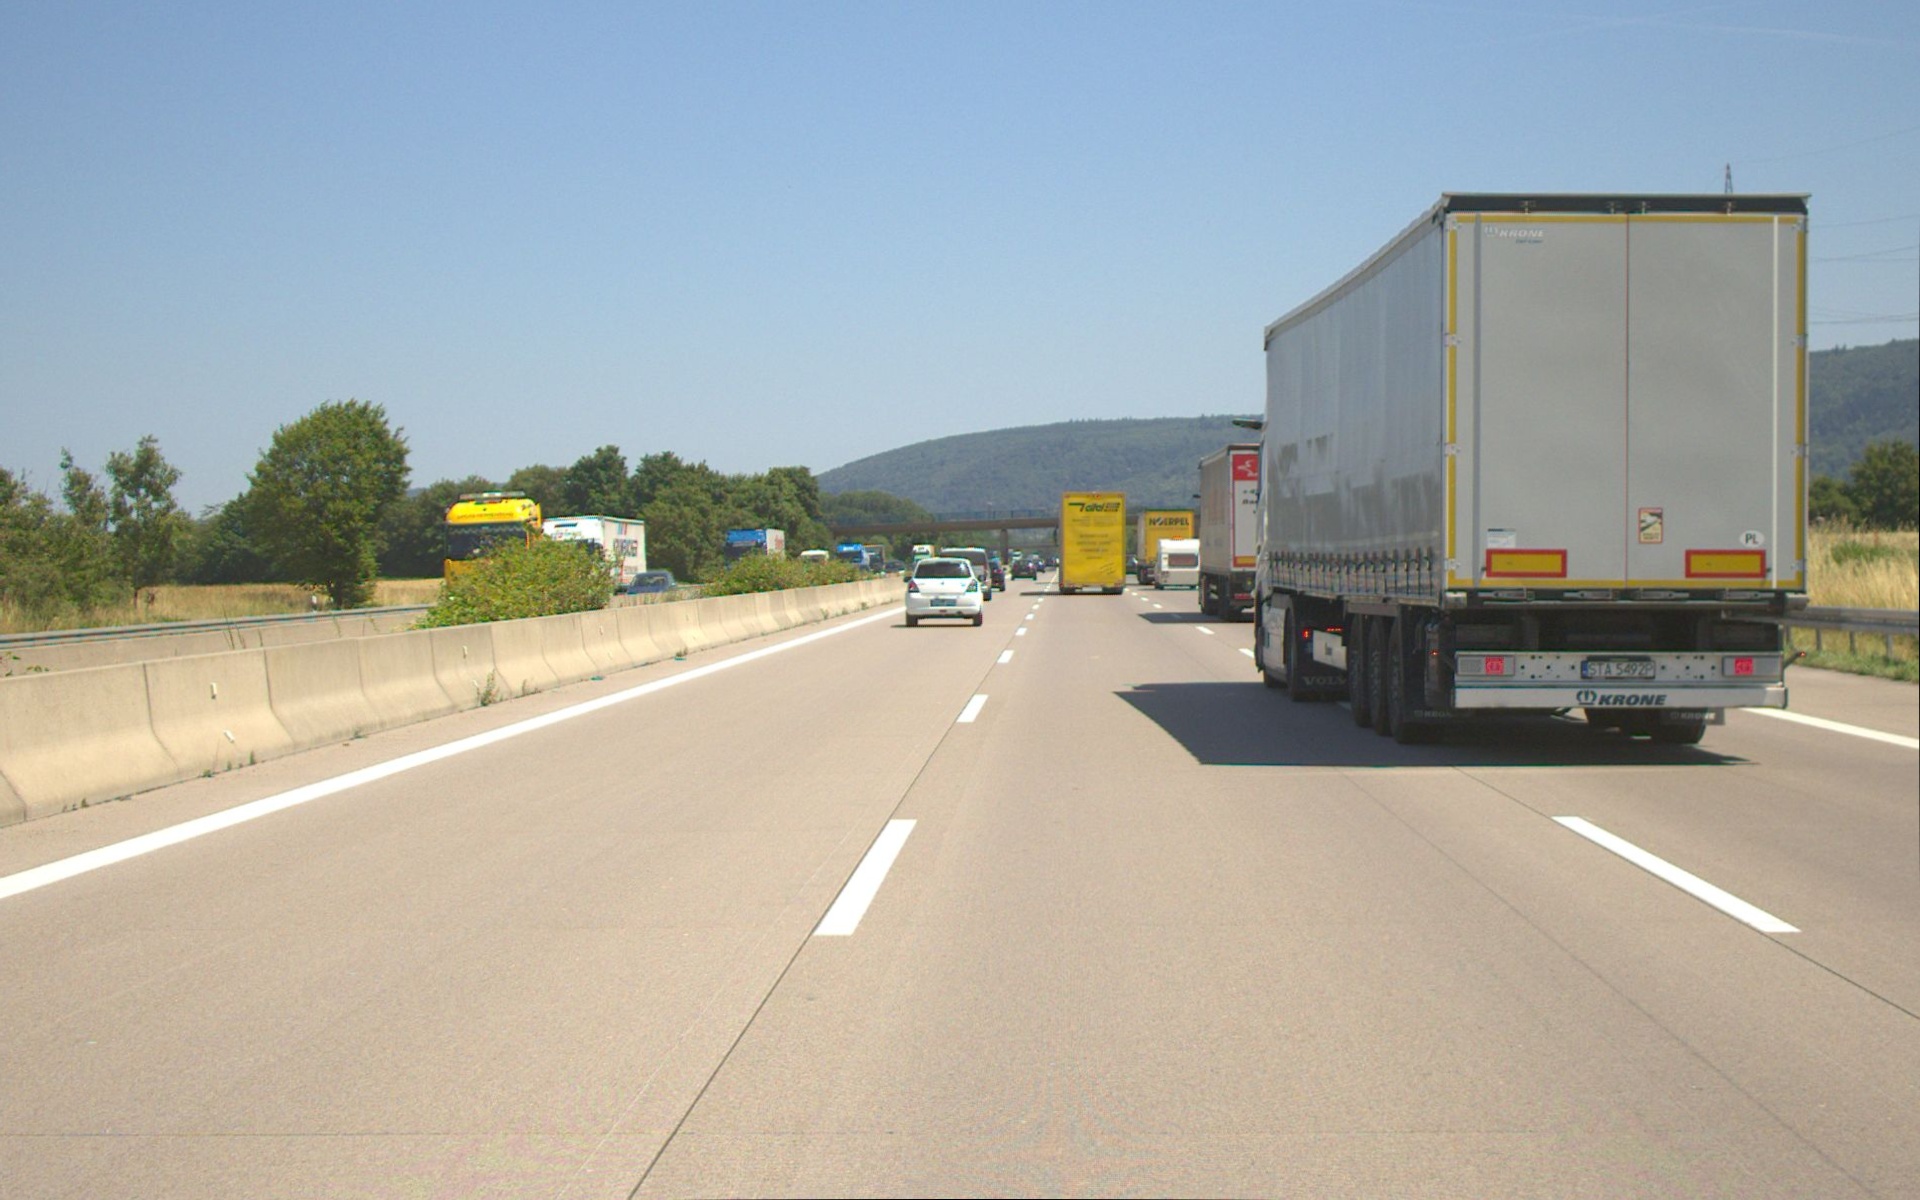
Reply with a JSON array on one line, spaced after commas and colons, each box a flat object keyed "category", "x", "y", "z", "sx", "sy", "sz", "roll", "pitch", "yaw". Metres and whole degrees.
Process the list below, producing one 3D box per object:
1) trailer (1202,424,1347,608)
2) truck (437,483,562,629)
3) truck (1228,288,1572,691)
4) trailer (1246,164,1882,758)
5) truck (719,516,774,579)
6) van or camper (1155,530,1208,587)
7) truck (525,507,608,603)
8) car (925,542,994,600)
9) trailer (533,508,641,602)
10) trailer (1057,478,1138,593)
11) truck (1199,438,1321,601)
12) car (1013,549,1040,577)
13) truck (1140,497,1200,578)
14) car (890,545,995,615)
[{"category": "trailer", "x": 7.445, "y": -1.965, "z": 83.017, "sx": 2.874, "sy": 4.086, "sz": 13.512, "roll": 0, "pitch": 1, "yaw": 3}, {"category": "truck", "x": -13.168, "y": -1.261, "z": 98.654, "sx": 2.743, "sy": 4.066, "sz": 5.540, "roll": 0, "pitch": 1, "yaw": 1}, {"category": "truck", "x": 4.651, "y": -1.154, "z": 37.399, "sx": 2.984, "sy": 4.048, "sz": 5.478, "roll": 0, "pitch": 1, "yaw": 0}, {"category": "trailer", "x": 4.719, "y": -1.054, "z": 30.610, "sx": 3.018, "sy": 4.047, "sz": 14.208, "roll": 0, "pitch": 1, "yaw": -1}, {"category": "truck", "x": -13.194, "y": -3.247, "z": 213.160, "sx": 2.897, "sy": 3.850, "sz": 5.685, "roll": 0, "pitch": 1, "yaw": 1}, {"category": "van or camper", "x": 10.144, "y": -1.914, "z": 158.023, "sx": 2.224, "sy": 2.522, "sz": 5.431, "roll": 0, "pitch": 1, "yaw": 2}, {"category": "truck", "x": -16.027, "y": -1.848, "z": 140.410, "sx": 2.770, "sy": 3.826, "sz": 4.451, "roll": 0, "pitch": 1, "yaw": 1}, {"category": "car", "x": -0.006, "y": -1.054, "z": 122.473, "sx": 2.255, "sy": 2.007, "sz": 4.297, "roll": 0, "pitch": 1, "yaw": 3}, {"category": "trailer", "x": -15.838, "y": -1.937, "z": 146.998, "sx": 2.770, "sy": 3.789, "sz": 13.828, "roll": 0, "pitch": 1, "yaw": 1}, {"category": "trailer", "x": 5.729, "y": -2.678, "z": 143.972, "sx": 3.216, "sy": 4.548, "sz": 13.456, "roll": 0, "pitch": 1, "yaw": 2}, {"category": "truck", "x": 7.758, "y": -2.063, "z": 89.604, "sx": 2.906, "sy": 4.086, "sz": 6.271, "roll": 0, "pitch": 1, "yaw": 3}, {"category": "car", "x": 4.582, "y": -2.547, "z": 236.868, "sx": 1.784, "sy": 1.875, "sz": 4.000, "roll": 0, "pitch": 1, "yaw": 2}, {"category": "truck", "x": 11.350, "y": -3.368, "z": 186.593, "sx": 2.999, "sy": 4.299, "sz": 9.683, "roll": 0, "pitch": 1, "yaw": 2}, {"category": "car", "x": -0.357, "y": -0.467, "z": 77.028, "sx": 2.107, "sy": 1.530, "sz": 4.122, "roll": 0, "pitch": 1, "yaw": 3}]
